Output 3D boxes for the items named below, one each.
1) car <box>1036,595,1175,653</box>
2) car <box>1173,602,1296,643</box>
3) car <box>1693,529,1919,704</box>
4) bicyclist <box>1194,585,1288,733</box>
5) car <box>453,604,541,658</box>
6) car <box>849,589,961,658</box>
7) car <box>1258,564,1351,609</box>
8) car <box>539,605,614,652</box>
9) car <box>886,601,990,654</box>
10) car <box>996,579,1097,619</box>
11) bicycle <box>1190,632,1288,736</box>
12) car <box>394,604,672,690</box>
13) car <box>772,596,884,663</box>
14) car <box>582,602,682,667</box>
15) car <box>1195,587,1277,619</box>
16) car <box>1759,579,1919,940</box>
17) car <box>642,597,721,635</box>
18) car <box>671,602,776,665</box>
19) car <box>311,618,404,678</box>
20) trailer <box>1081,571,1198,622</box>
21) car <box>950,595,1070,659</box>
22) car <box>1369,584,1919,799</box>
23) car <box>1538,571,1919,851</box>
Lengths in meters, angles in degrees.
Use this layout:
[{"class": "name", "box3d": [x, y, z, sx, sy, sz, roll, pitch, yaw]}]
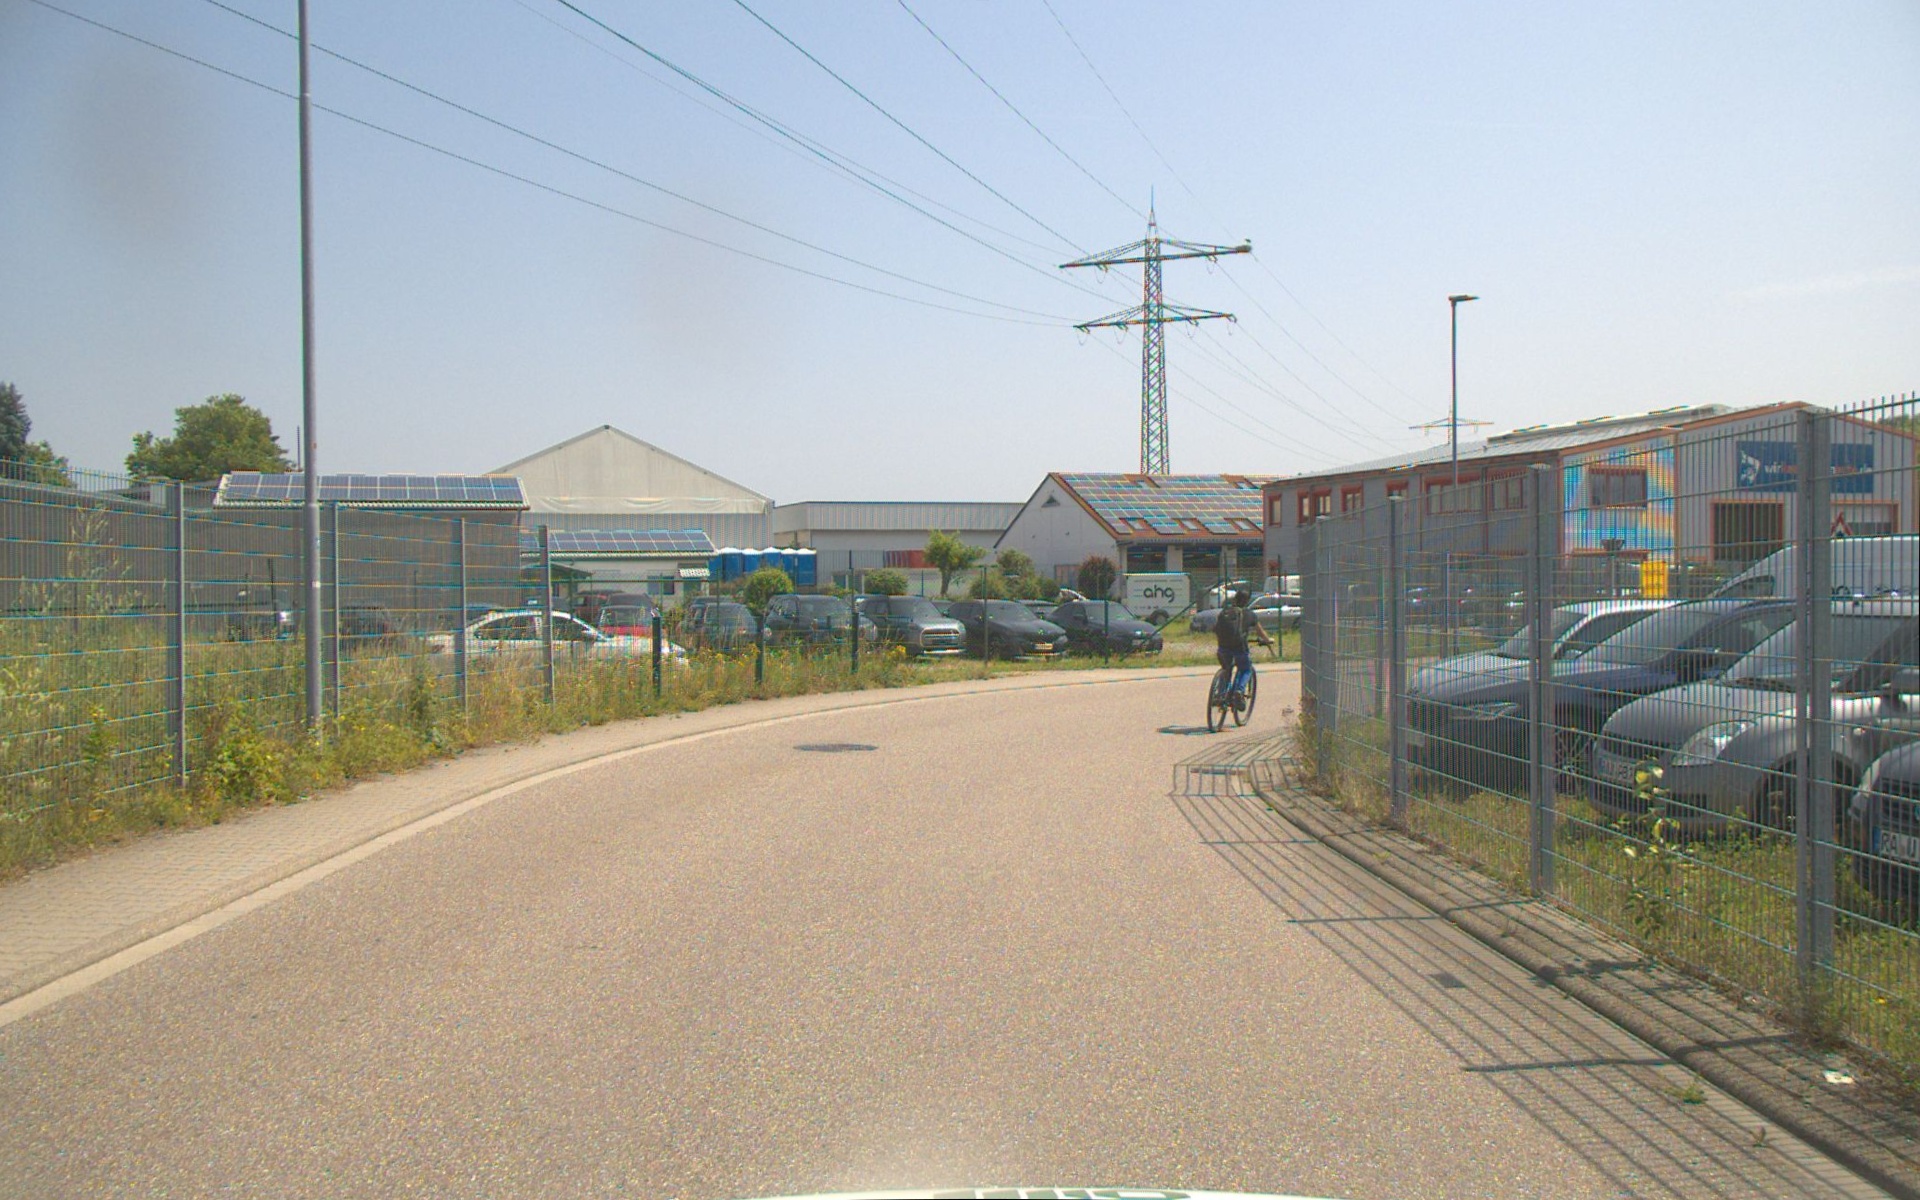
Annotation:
[{"class": "car", "box3d": [3.871, 0.610, 44.806, 1.966, 1.460, 4.637, 0, 0, -20]}, {"class": "car", "box3d": [9.315, 0.736, 56.029, 4.070, 1.283, 1.227, -1, 0, -22]}, {"class": "car", "box3d": [12.545, 0.200, 21.461, 1.891, 2.186, 5.261, -1, 0, -42]}, {"class": "bicyclist", "box3d": [3.272, 0.654, 19.197, 0.825, 1.647, 1.039, 1, 0, 24]}, {"class": "car", "box3d": [-12.110, 0.786, 43.182, 1.837, 1.321, 3.417, 0, 0, -22]}, {"class": "car", "box3d": [-1.450, 0.566, 42.421, 1.835, 1.672, 3.612, 0, 0, -20]}, {"class": "car", "box3d": [15.804, -0.638, 75.853, 3.839, 2.013, 1.812, -1, 0, -22]}, {"class": "car", "box3d": [-12.719, 0.920, 54.699, 1.835, 1.458, 4.576, 0, 0, -20]}, {"class": "car", "box3d": [-0.695, 0.770, 48.532, 1.963, 1.445, 3.980, -1, 1, -18]}, {"class": "car", "box3d": [3.703, -0.054, 71.046, 3.927, 1.626, 1.867, -1, 0, -19]}, {"class": "bicycle", "box3d": [3.269, 0.945, 19.228, 0.671, 1.069, 1.900, 1, 1, 24]}, {"class": "car", "box3d": [-7.328, 0.761, 28.364, 4.481, 1.330, 1.857, 0, 0, -21]}, {"class": "car", "box3d": [-3.335, 0.694, 41.200, 1.835, 1.588, 3.674, 0, 0, -20]}, {"class": "car", "box3d": [-7.903, 0.790, 39.634, 1.835, 1.479, 3.420, 0, 0, -21]}, {"class": "car", "box3d": [13.737, 0.126, 82.373, 3.839, 1.542, 1.498, -1, 0, -22]}, {"class": "car", "box3d": [5.745, 0.670, 7.361, 3.581, 1.503, 1.748, 0, -2, -9]}, {"class": "car", "box3d": [-9.469, 0.516, 55.982, 1.835, 1.196, 4.576, 0, 0, -20]}, {"class": "car", "box3d": [-5.841, 0.782, 40.609, 1.835, 1.458, 3.627, 0, 0, -20]}, {"class": "car", "box3d": [-15.670, 1.215, 42.941, 1.841, 1.439, 3.410, 0, 0, -28]}, {"class": "trailer", "box3d": [7.164, -0.158, 66.195, 4.362, 1.979, 1.712, -1, 0, -6]}, {"class": "car", "box3d": [1.243, 0.665, 42.864, 1.835, 1.581, 3.747, 0, 0, -20]}, {"class": "car", "box3d": [5.583, 0.639, 12.666, 4.444, 1.500, 1.825, 0, 0, 0]}, {"class": "car", "box3d": [5.566, 0.597, 10.089, 3.469, 1.528, 1.710, 0, 0, -4]}]
